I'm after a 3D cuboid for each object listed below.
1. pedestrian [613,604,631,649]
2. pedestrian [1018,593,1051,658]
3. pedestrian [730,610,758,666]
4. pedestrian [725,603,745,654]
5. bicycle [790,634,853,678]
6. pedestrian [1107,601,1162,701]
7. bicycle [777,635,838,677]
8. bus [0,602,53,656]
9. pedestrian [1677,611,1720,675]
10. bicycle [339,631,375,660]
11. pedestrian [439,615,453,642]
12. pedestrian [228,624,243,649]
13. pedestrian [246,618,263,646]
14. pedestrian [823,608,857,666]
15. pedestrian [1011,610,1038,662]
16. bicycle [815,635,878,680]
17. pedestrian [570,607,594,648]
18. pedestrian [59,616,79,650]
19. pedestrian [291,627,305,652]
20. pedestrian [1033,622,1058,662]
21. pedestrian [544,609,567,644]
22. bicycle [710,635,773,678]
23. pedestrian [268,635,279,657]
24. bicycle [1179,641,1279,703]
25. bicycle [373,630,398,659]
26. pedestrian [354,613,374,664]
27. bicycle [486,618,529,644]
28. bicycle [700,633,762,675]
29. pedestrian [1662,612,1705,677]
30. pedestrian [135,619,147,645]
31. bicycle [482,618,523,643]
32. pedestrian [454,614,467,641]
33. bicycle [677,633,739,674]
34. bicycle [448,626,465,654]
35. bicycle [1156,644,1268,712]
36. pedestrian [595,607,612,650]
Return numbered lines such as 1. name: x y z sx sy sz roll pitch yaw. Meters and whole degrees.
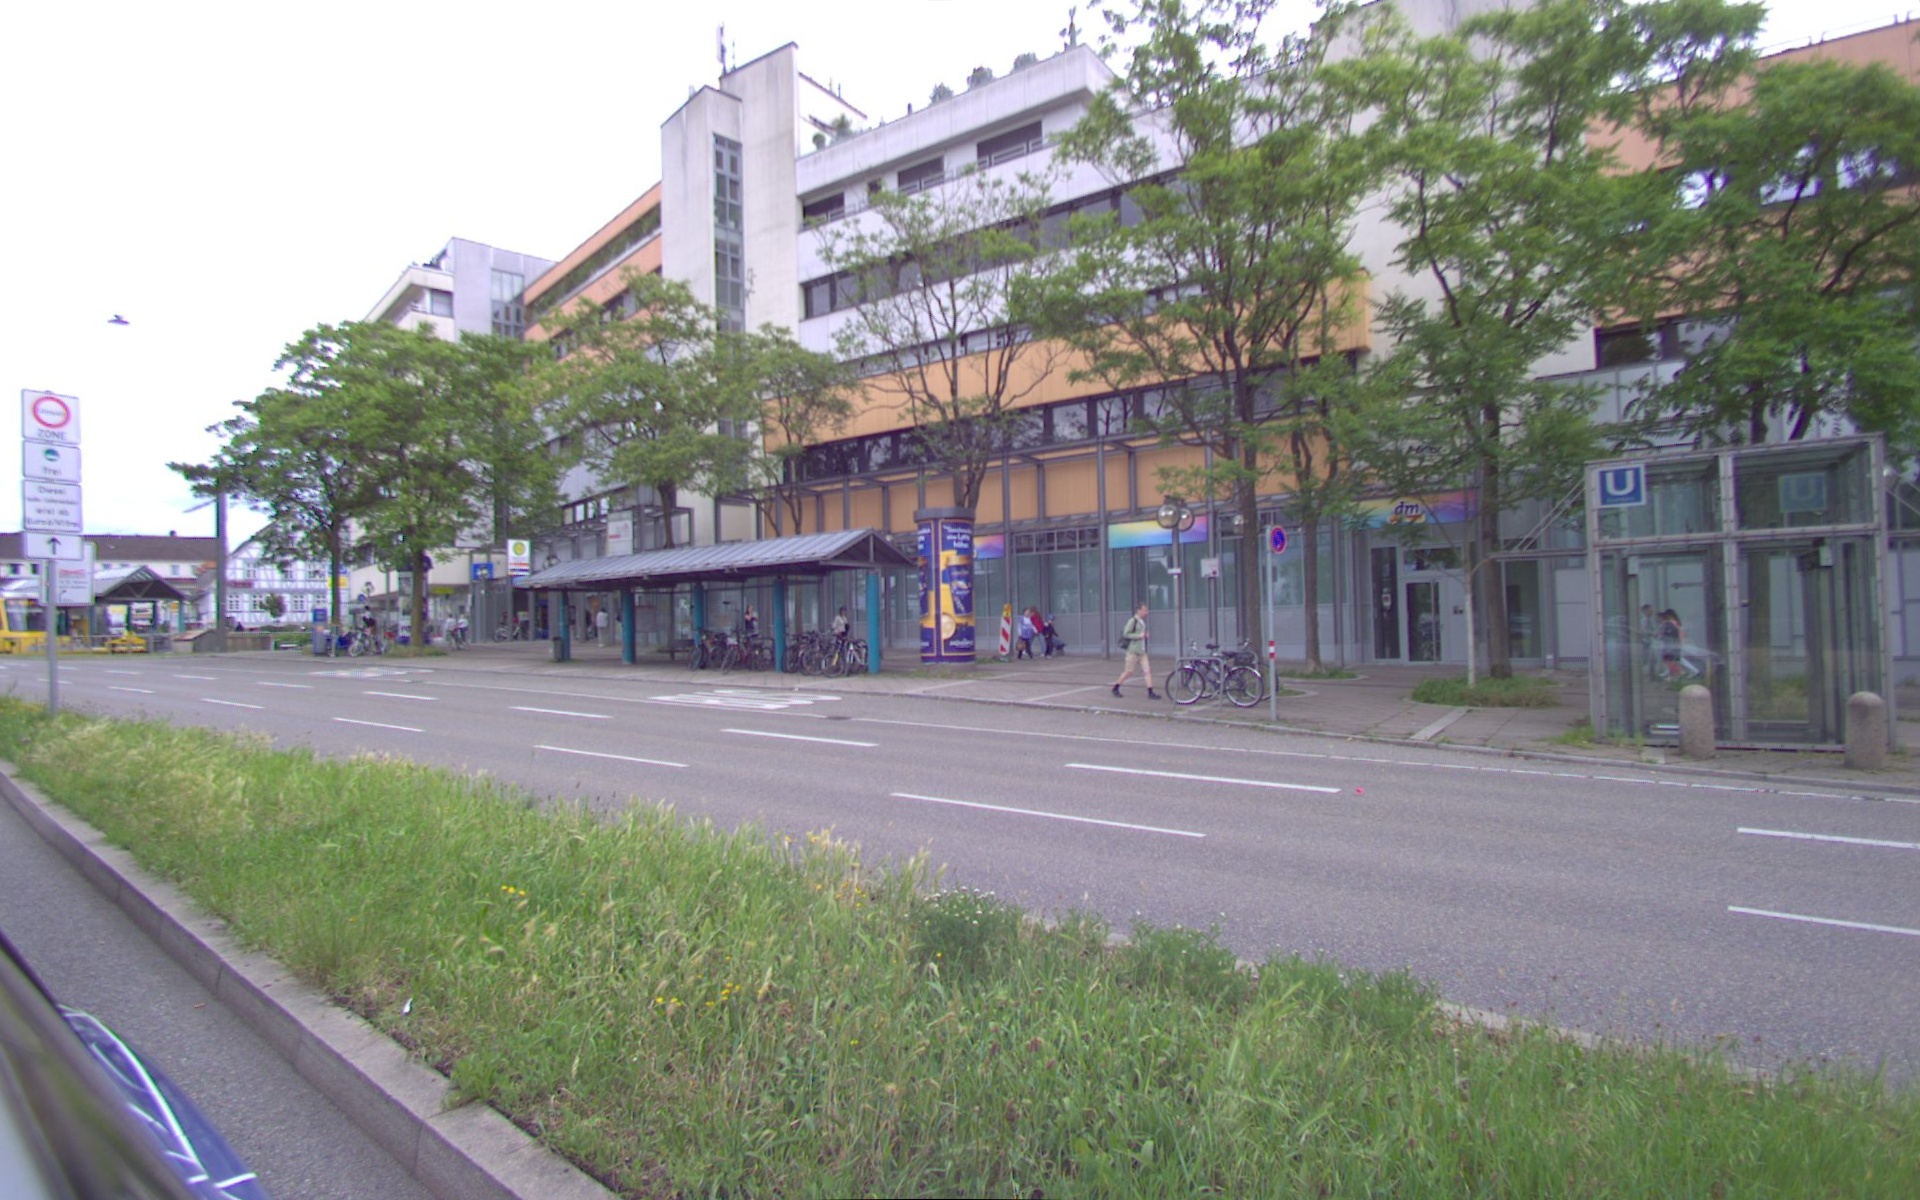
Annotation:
1. pedestrian: -15.194 1.185 45.506 0.558 2.029 0.611 1 -2 -44
2. pedestrian: 2.358 0.792 31.863 0.791 2.029 0.703 -1 0 31
3. pedestrian: -7.115 1.247 33.339 0.769 1.800 0.525 -1 -2 33
4. pedestrian: -9.055 1.142 40.775 0.558 2.029 0.611 1 -2 -44
5. bicycle: -3.622 1.451 26.593 0.549 1.048 1.714 -2 0 38
6. pedestrian: 3.311 0.953 19.207 0.916 1.846 0.533 -1 -2 25
7. bicycle: -4.146 1.507 27.560 0.549 1.048 1.714 -2 -1 38
8. bus: -55.991 1.665 58.613 8.470 3.006 2.530 -1 -2 29
9. pedestrian: 16.272 0.940 22.306 0.694 1.385 0.578 -1 -2 32
10. bicycle: -23.622 1.754 39.650 0.585 1.085 2.042 0 -1 -12
11. pedestrian: -28.778 1.577 56.661 0.548 1.506 0.454 1 -2 -41
12. pedestrian: -46.249 2.309 64.600 0.581 1.554 0.570 -1 -2 32
13. pedestrian: -52.302 2.348 75.058 0.867 2.029 1.010 1 -2 -44
14. pedestrian: -3.511 1.079 29.600 0.721 1.662 0.669 -1 -1 37
15. pedestrian: 1.906 1.061 29.819 0.620 1.515 0.563 -1 -2 31
16. bicycle: -2.912 1.466 26.060 0.549 1.048 1.714 -2 0 38
17. pedestrian: -17.518 1.261 46.864 0.752 1.859 0.755 -1 -2 41
18. pedestrian: -53.763 2.013 61.070 0.663 2.029 0.632 -1 -2 21
19. pedestrian: -41.862 2.501 64.003 0.581 1.554 0.570 -1 -2 32
20. pedestrian: 2.568 1.256 30.387 0.620 1.190 0.418 -1 -2 31
21. pedestrian: -19.648 1.287 49.151 0.752 1.695 0.755 -1 -2 41
22. bicycle: -5.968 1.521 27.721 0.549 1.048 1.714 -2 1 38
23. pedestrian: -37.568 2.511 55.397 0.368 1.188 0.338 -1 -2 31
24. bicycle: 4.977 1.307 18.790 1.737 1.074 0.542 -2 -1 45
25. bicycle: -22.755 1.741 40.108 0.584 1.085 2.044 0 -1 -21
26. pedestrian: -27.334 1.744 46.392 0.608 2.325 0.583 -1 -2 39
27. bicycle: -24.957 1.711 55.787 2.107 1.385 0.621 -1 0 -31
28. bicycle: -6.463 1.504 28.583 0.549 1.048 1.714 -2 1 38
29. pedestrian: 15.677 0.948 21.933 0.694 1.385 0.578 -1 -2 32
30. pedestrian: -64.541 2.510 79.759 0.731 2.029 0.940 1 -2 -39
31. bicycle: -26.106 1.721 57.765 2.106 1.377 0.621 -1 0 -24
32. pedestrian: -28.145 1.568 56.969 0.548 1.506 0.454 1 -2 -41
33. bicycle: -7.241 1.526 29.148 0.549 1.048 1.714 -2 0 38
34. bicycle: -21.360 1.695 42.928 0.584 1.134 2.044 1 -1 -26
35. bicycle: 4.360 1.319 17.598 0.802 1.068 1.739 0 -1 -40
36. pedestrian: -15.482 1.231 43.906 0.639 1.823 0.761 0 -2 -16
